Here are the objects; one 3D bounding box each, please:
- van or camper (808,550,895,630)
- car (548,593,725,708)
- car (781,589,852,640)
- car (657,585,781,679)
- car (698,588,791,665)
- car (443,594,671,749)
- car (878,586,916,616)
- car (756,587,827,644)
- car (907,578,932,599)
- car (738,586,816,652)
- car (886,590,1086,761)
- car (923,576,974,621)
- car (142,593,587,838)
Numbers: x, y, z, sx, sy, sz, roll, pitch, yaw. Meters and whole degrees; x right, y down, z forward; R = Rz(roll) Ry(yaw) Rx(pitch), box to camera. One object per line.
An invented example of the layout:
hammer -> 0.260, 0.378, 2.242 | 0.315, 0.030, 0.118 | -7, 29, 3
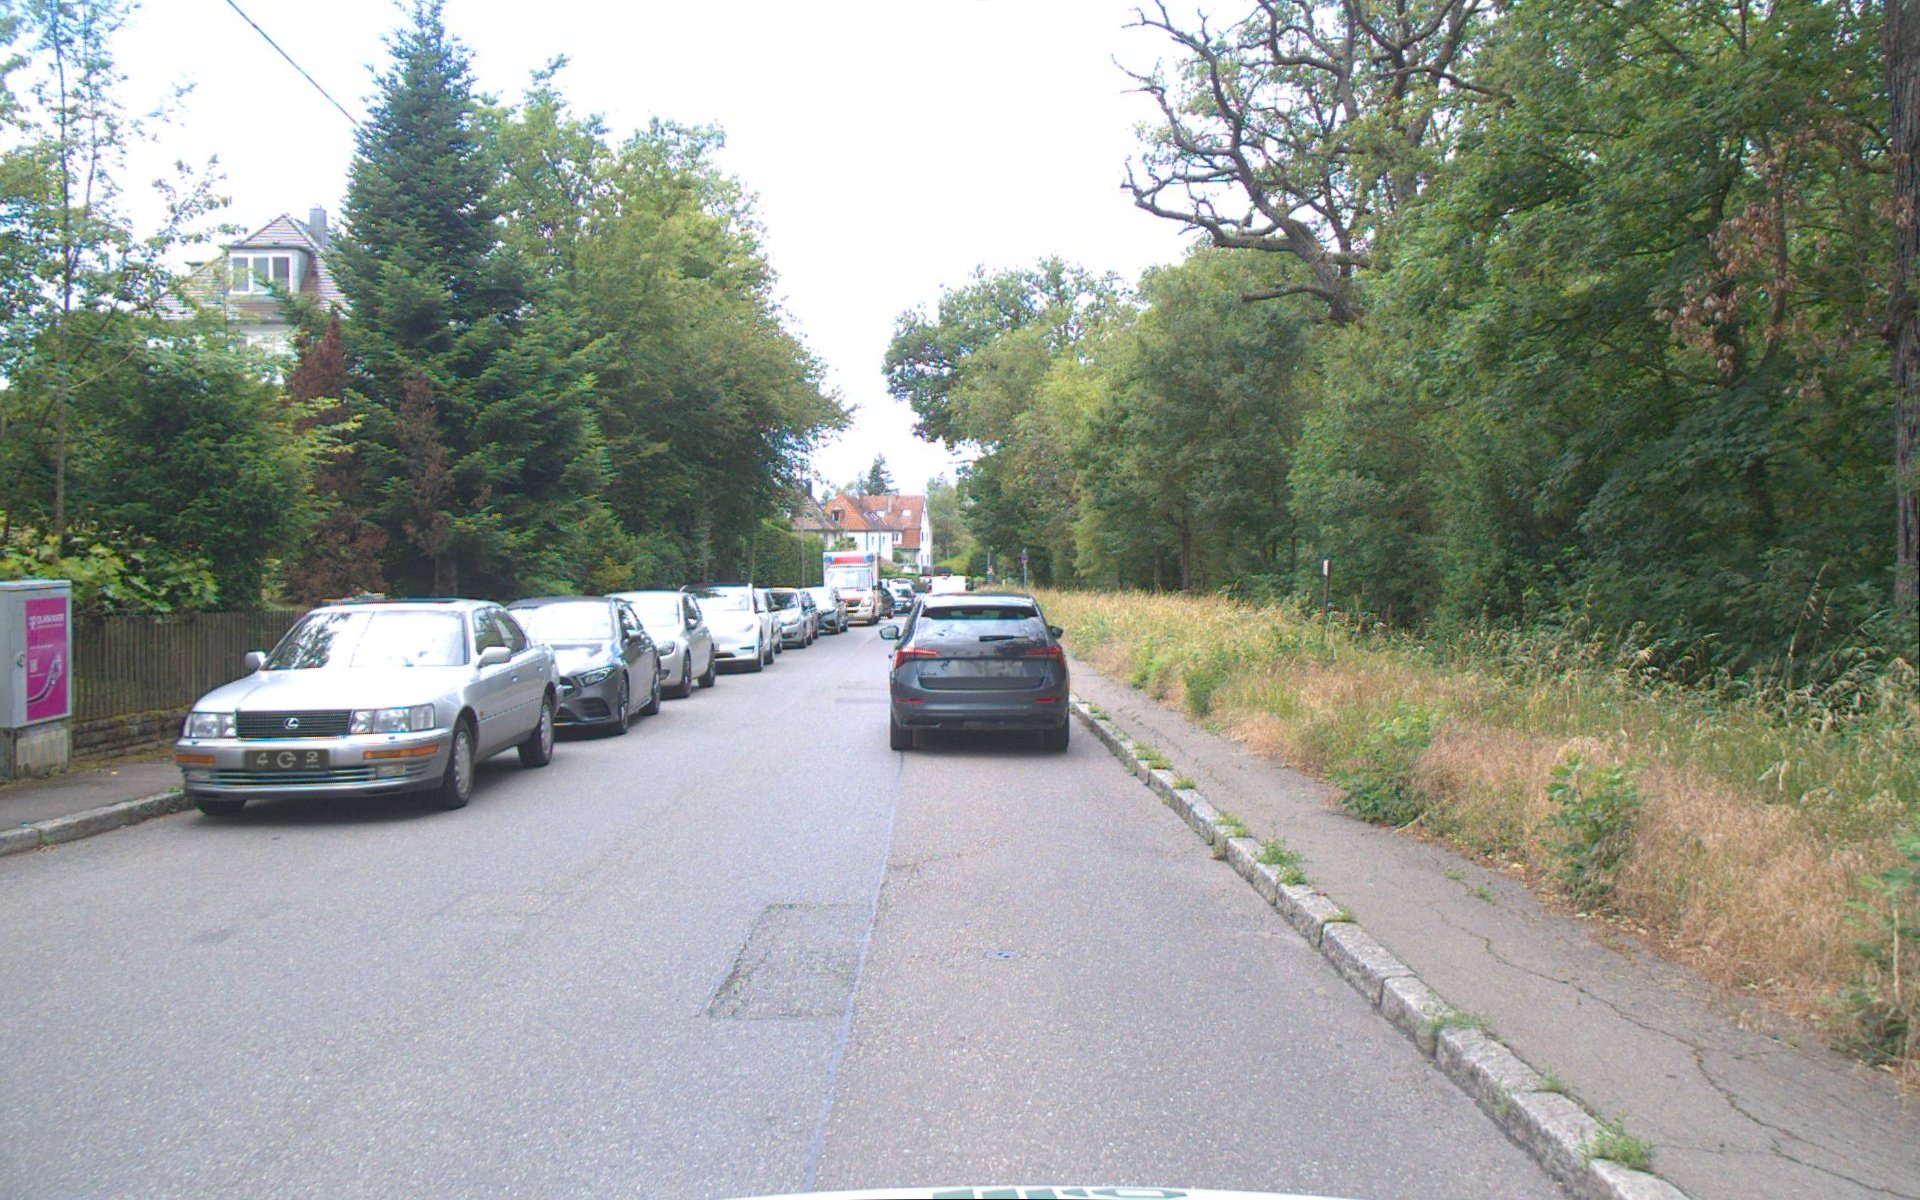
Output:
van or camper -> -4.186, -0.430, 65.313 | 2.404, 2.945, 7.172 | -1, 1, 4
car -> -4.615, 0.664, 24.195 | 1.797, 1.464, 4.116 | -2, 0, -1
car -> -4.690, 0.457, 54.665 | 1.761, 1.531, 4.864 | -2, 0, 1
car -> -4.504, 0.542, 31.514 | 1.878, 1.589, 4.601 | -2, 1, -3
car -> -4.750, 0.545, 36.837 | 1.686, 1.531, 3.815 | -2, 1, -3
car -> -4.334, 0.692, 18.394 | 1.700, 1.464, 4.260 | -1, 0, -4
car -> -3.214, 0.044, 84.700 | 1.727, 1.471, 4.474 | -1, 1, 0
car -> -4.878, 0.412, 48.334 | 1.685, 1.531, 4.059 | -2, 0, -1
car -> -2.963, -0.861, 121.116 | 1.825, 1.439, 4.591 | 1, 1, -2
car -> -4.599, 0.453, 42.029 | 1.686, 1.531, 4.005 | -2, 0, -3
car -> 0.139, 0.659, 16.823 | 1.693, 1.464, 4.321 | 1, 1, -4
car -> -0.554, -0.108, 75.572 | 2.031, 1.955, 4.919 | 0, 1, -4
car -> -4.264, 0.707, 12.768 | 1.811, 1.464, 4.908 | -1, 0, -2
